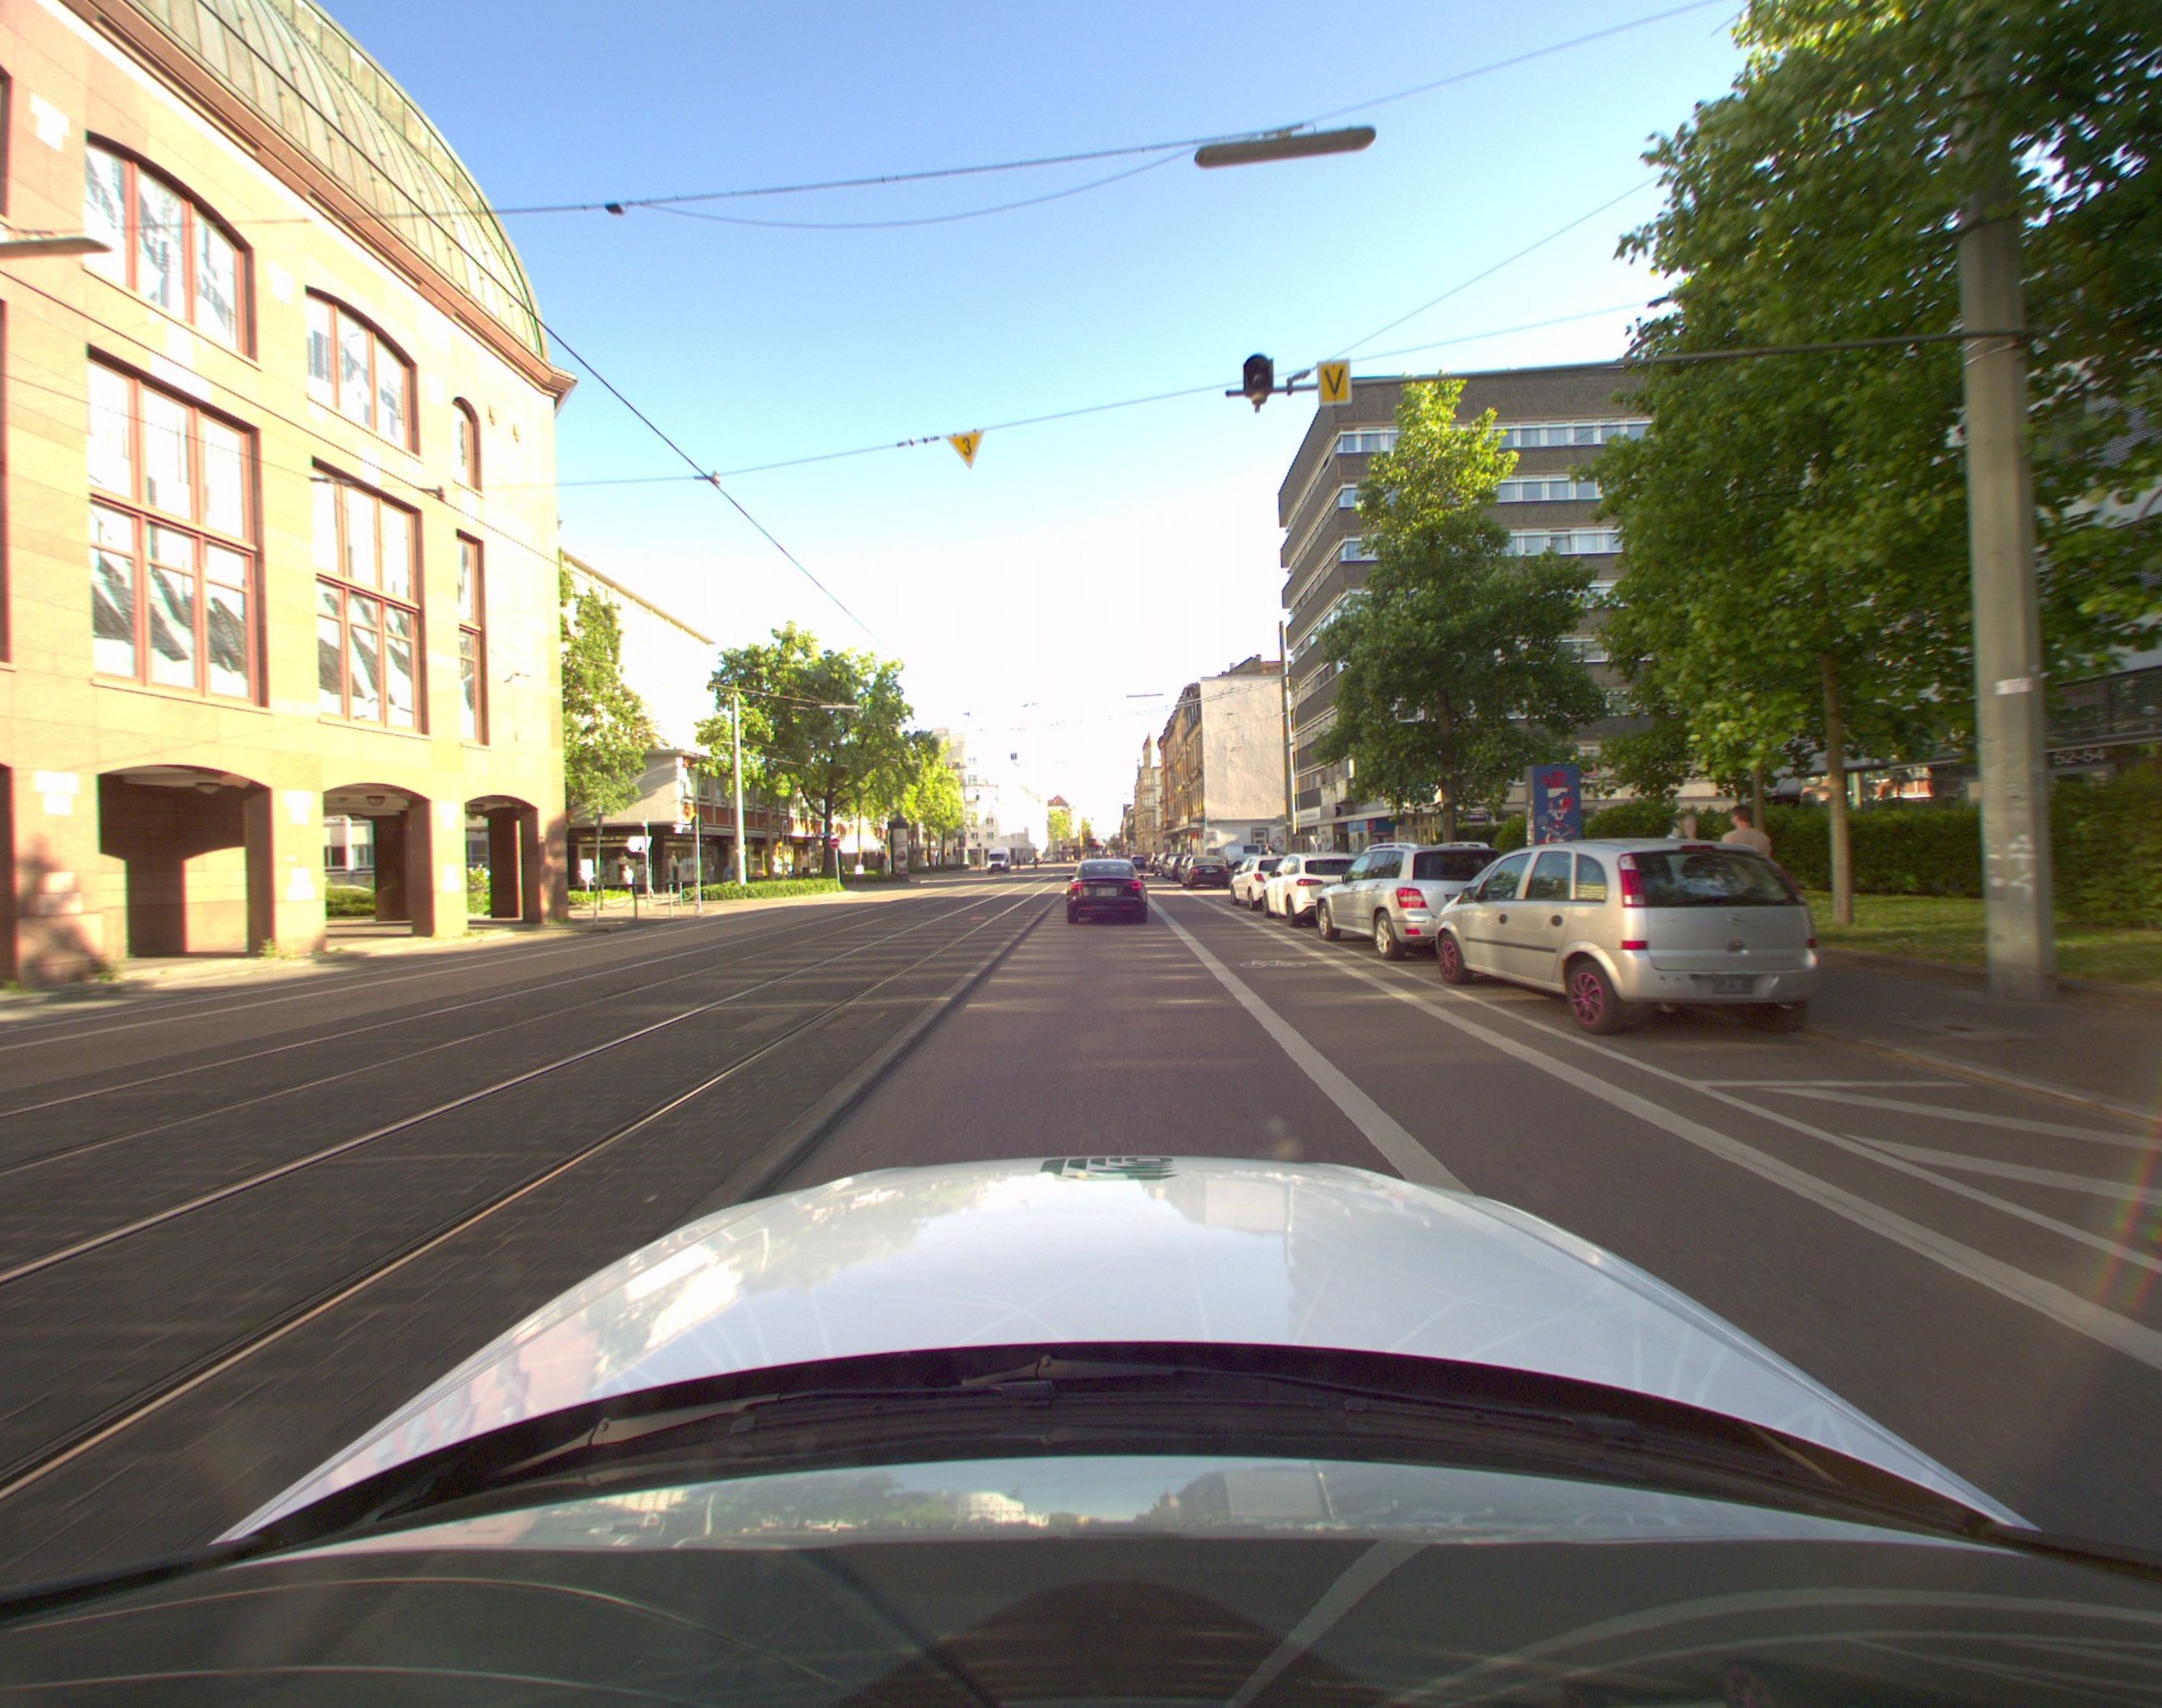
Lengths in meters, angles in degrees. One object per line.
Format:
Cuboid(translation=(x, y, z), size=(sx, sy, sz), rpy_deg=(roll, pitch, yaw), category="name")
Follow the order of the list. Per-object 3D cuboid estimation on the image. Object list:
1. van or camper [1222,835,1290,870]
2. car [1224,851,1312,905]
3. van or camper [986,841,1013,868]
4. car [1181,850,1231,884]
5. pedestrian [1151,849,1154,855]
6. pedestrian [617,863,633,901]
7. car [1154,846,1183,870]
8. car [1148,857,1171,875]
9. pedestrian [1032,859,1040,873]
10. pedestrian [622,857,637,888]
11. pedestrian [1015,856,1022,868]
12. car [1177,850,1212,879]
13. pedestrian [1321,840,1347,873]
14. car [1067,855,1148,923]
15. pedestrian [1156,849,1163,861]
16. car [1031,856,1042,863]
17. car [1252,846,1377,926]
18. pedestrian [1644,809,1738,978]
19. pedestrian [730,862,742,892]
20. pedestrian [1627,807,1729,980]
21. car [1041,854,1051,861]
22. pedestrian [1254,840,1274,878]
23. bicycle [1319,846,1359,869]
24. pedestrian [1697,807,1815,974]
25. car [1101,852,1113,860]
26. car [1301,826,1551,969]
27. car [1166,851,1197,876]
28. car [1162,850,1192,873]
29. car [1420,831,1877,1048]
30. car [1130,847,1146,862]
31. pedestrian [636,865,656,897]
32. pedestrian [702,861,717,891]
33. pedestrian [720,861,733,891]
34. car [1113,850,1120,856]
Cuboid(translation=(12.894, -0.105, 60.259), size=(4.621, 2.136, 1.990), rpy_deg=(-4, -1, 5), category="van or camper")
Cuboid(translation=(5.351, 0.660, 23.743), size=(1.597, 1.443, 3.883), rpy_deg=(1, 0, -1), category="car")
Cuboid(translation=(-8.583, 0.056, 86.542), size=(2.133, 2.654, 6.878), rpy_deg=(-2, 0, 0), category="van or camper")
Cuboid(translation=(5.631, 0.580, 37.182), size=(1.704, 1.457, 4.552), rpy_deg=(-1, 0, 1), category="car")
Cuboid(translation=(13.093, -0.383, 148.399), size=(0.439, 1.221, 0.389), rpy_deg=(-2, 0, 0), category="pedestrian")
Cuboid(translation=(-25.413, 1.540, 45.395), size=(0.607, 2.066, 0.660), rpy_deg=(0, 0, -43), category="pedestrian")
Cuboid(translation=(6.326, 0.313, 59.010), size=(1.822, 1.628, 4.097), rpy_deg=(-1, -1, 2), category="car")
Cuboid(translation=(6.724, 0.998, 69.677), size=(1.708, 1.472, 3.722), rpy_deg=(-2, 0, 2), category="car")
Cuboid(translation=(-5.694, 1.511, 103.550), size=(0.839, 1.695, 0.798), rpy_deg=(0, 0, 9), category="pedestrian")
Cuboid(translation=(-26.488, 1.064, 47.777), size=(0.589, 1.784, 0.538), rpy_deg=(0, 0, 1), category="pedestrian")
Cuboid(translation=(-8.166, 1.029, 106.431), size=(0.699, 1.501, 0.795), rpy_deg=(-1, -1, 2), category="pedestrian")
Cuboid(translation=(6.033, 0.560, 43.608), size=(1.572, 1.447, 3.311), rpy_deg=(-1, -1, 3), category="car")
Cuboid(translation=(13.957, 0.137, 44.942), size=(1.143, 1.728, 1.050), rpy_deg=(-2, 0, 26), category="pedestrian")
Cuboid(translation=(0.582, 0.737, 19.204), size=(1.714, 1.405, 3.710), rpy_deg=(0, 0, 1), category="car")
Cuboid(translation=(10.478, 0.108, 108.863), size=(0.746, 1.617, 0.705), rpy_deg=(-2, -1, -1), category="pedestrian")
Cuboid(translation=(-9.350, 1.108, 170.433), size=(1.986, 1.368, 4.001), rpy_deg=(-2, 0, 2), category="car")
Cuboid(translation=(5.063, 0.629, 18.269), size=(1.536, 1.570, 4.442), rpy_deg=(0, 0, 0), category="car")
Cuboid(translation=(7.427, 0.462, 9.946), size=(0.462, 1.954, 0.749), rpy_deg=(-5, -1, 7), category="pedestrian")
Cuboid(translation=(-21.380, 1.431, 50.521), size=(0.545, 1.801, 0.587), rpy_deg=(0, 0, -7), category="pedestrian")
Cuboid(translation=(6.532, 0.422, 8.933), size=(0.608, 1.808, 0.603), rpy_deg=(-3, -1, 6), category="pedestrian")
Cuboid(translation=(-8.349, 0.858, 195.172), size=(1.986, 1.495, 4.002), rpy_deg=(-3, 0, 2), category="car")
Cuboid(translation=(8.950, 0.227, 39.843), size=(0.719, 1.812, 0.889), rpy_deg=(-2, -1, 1), category="pedestrian")
Cuboid(translation=(13.987, 0.196, 44.161), size=(2.189, 1.219, 0.797), rpy_deg=(0, -1, -32), category="bicycle")
Cuboid(translation=(8.147, 0.429, 9.858), size=(0.665, 1.897, 0.749), rpy_deg=(-5, -1, 6), category="pedestrian")
Cuboid(translation=(5.169, 0.334, 161.781), size=(1.989, 1.525, 3.996), rpy_deg=(-1, -1, -3), category="car")
Cuboid(translation=(5.149, 0.555, 12.994), size=(1.919, 1.834, 4.710), rpy_deg=(-1, 0, -1), category="car")
Cuboid(translation=(5.994, 0.579, 48.857), size=(1.456, 1.432, 3.814), rpy_deg=(-1, -1, 1), category="car")
Cuboid(translation=(6.298, 0.523, 53.971), size=(1.573, 1.444, 3.914), rpy_deg=(-1, -1, 1), category="car")
Cuboid(translation=(5.023, 0.618, 8.021), size=(1.708, 1.590, 4.065), rpy_deg=(0, 0, 0), category="car")
Cuboid(translation=(6.067, 0.062, 87.618), size=(1.587, 1.433, 3.688), rpy_deg=(-2, 0, 2), category="car")
Cuboid(translation=(-23.597, 1.468, 44.150), size=(0.517, 1.694, 0.714), rpy_deg=(-3, 0, 25), category="pedestrian")
Cuboid(translation=(-23.100, 1.349, 50.650), size=(0.624, 1.847, 0.673), rpy_deg=(0, 0, -1), category="pedestrian")
Cuboid(translation=(-21.957, 1.365, 50.413), size=(0.590, 1.872, 0.537), rpy_deg=(0, 0, -8), category="pedestrian")
Cuboid(translation=(9.743, -0.192, 221.486), size=(1.839, 1.592, 4.003), rpy_deg=(-3, 0, 2), category="car")
